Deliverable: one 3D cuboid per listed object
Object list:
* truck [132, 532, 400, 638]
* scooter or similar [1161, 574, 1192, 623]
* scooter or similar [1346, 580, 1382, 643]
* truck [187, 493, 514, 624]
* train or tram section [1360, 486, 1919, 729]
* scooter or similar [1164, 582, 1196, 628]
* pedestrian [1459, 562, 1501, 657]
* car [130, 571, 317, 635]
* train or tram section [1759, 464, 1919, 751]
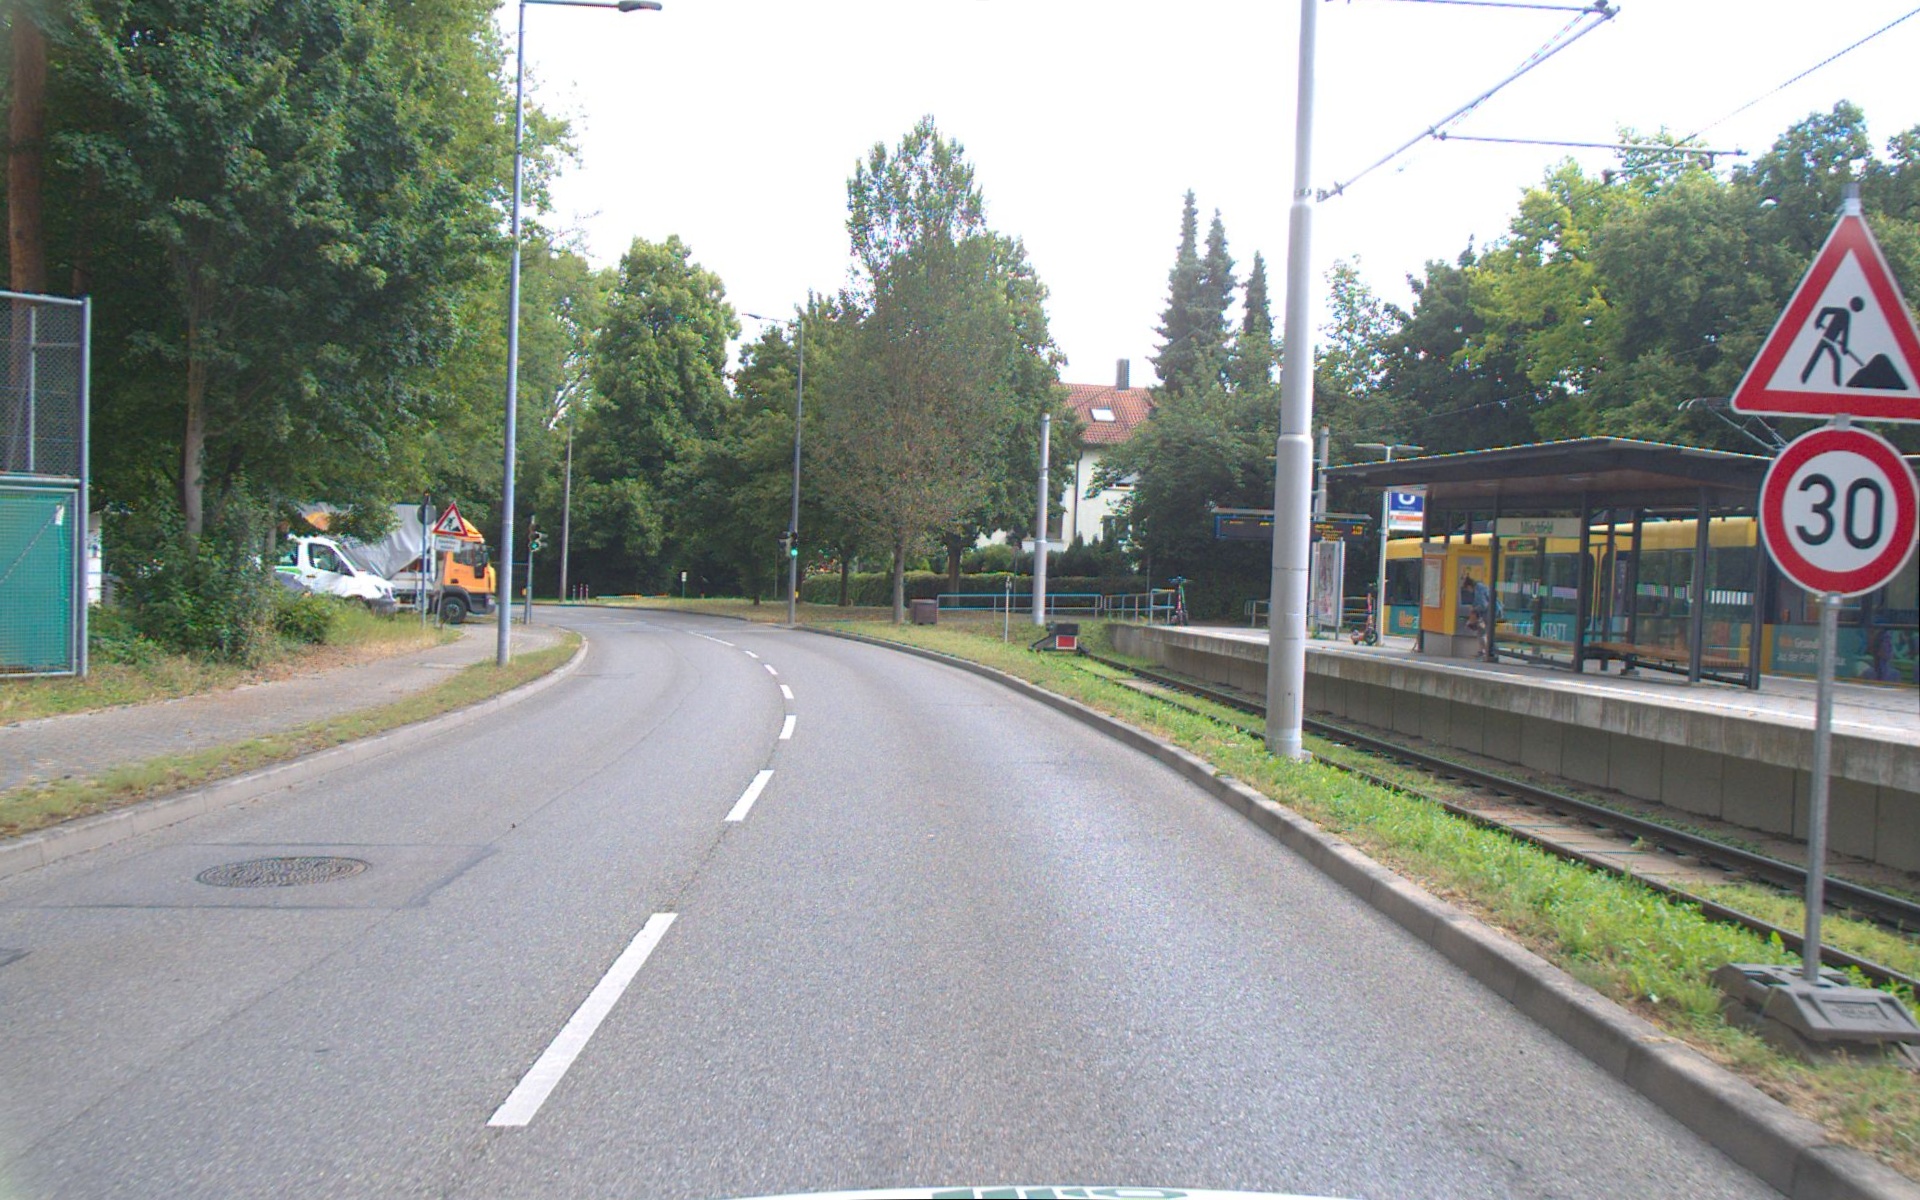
[{"bbox_3d":[-18.236,-0.347,43.850,6.293,2.458,2.111,3,-1,-21],"label":"truck"},{"bbox_3d":[5.763,-0.025,44.002,0.422,1.275,1.250,1,-1,-13],"label":"scooter or similar"},{"bbox_3d":[8.328,0.227,34.121,0.361,1.264,1.145,2,0,-4],"label":"scooter or similar"},{"bbox_3d":[-18.488,-1.201,50.751,9.088,3.593,2.552,2,-1,-18],"label":"truck"},{"bbox_3d":[13.123,-0.025,35.463,2.758,3.651,19.496,3,1,-5],"label":"train or tram section"},{"bbox_3d":[6.143,0.151,46.306,0.423,1.275,1.249,1,-2,-16],"label":"scooter or similar"},{"bbox_3d":[8.922,0.164,28.404,0.609,1.600,0.665,1,0,13],"label":"pedestrian"},{"bbox_3d":[-17.453,0.093,39.260,3.938,1.350,1.703,2,-3,-26],"label":"car"},{"bbox_3d":[14.436,0.250,16.015,2.758,3.801,19.501,3,1,-3],"label":"train or tram section"}]
